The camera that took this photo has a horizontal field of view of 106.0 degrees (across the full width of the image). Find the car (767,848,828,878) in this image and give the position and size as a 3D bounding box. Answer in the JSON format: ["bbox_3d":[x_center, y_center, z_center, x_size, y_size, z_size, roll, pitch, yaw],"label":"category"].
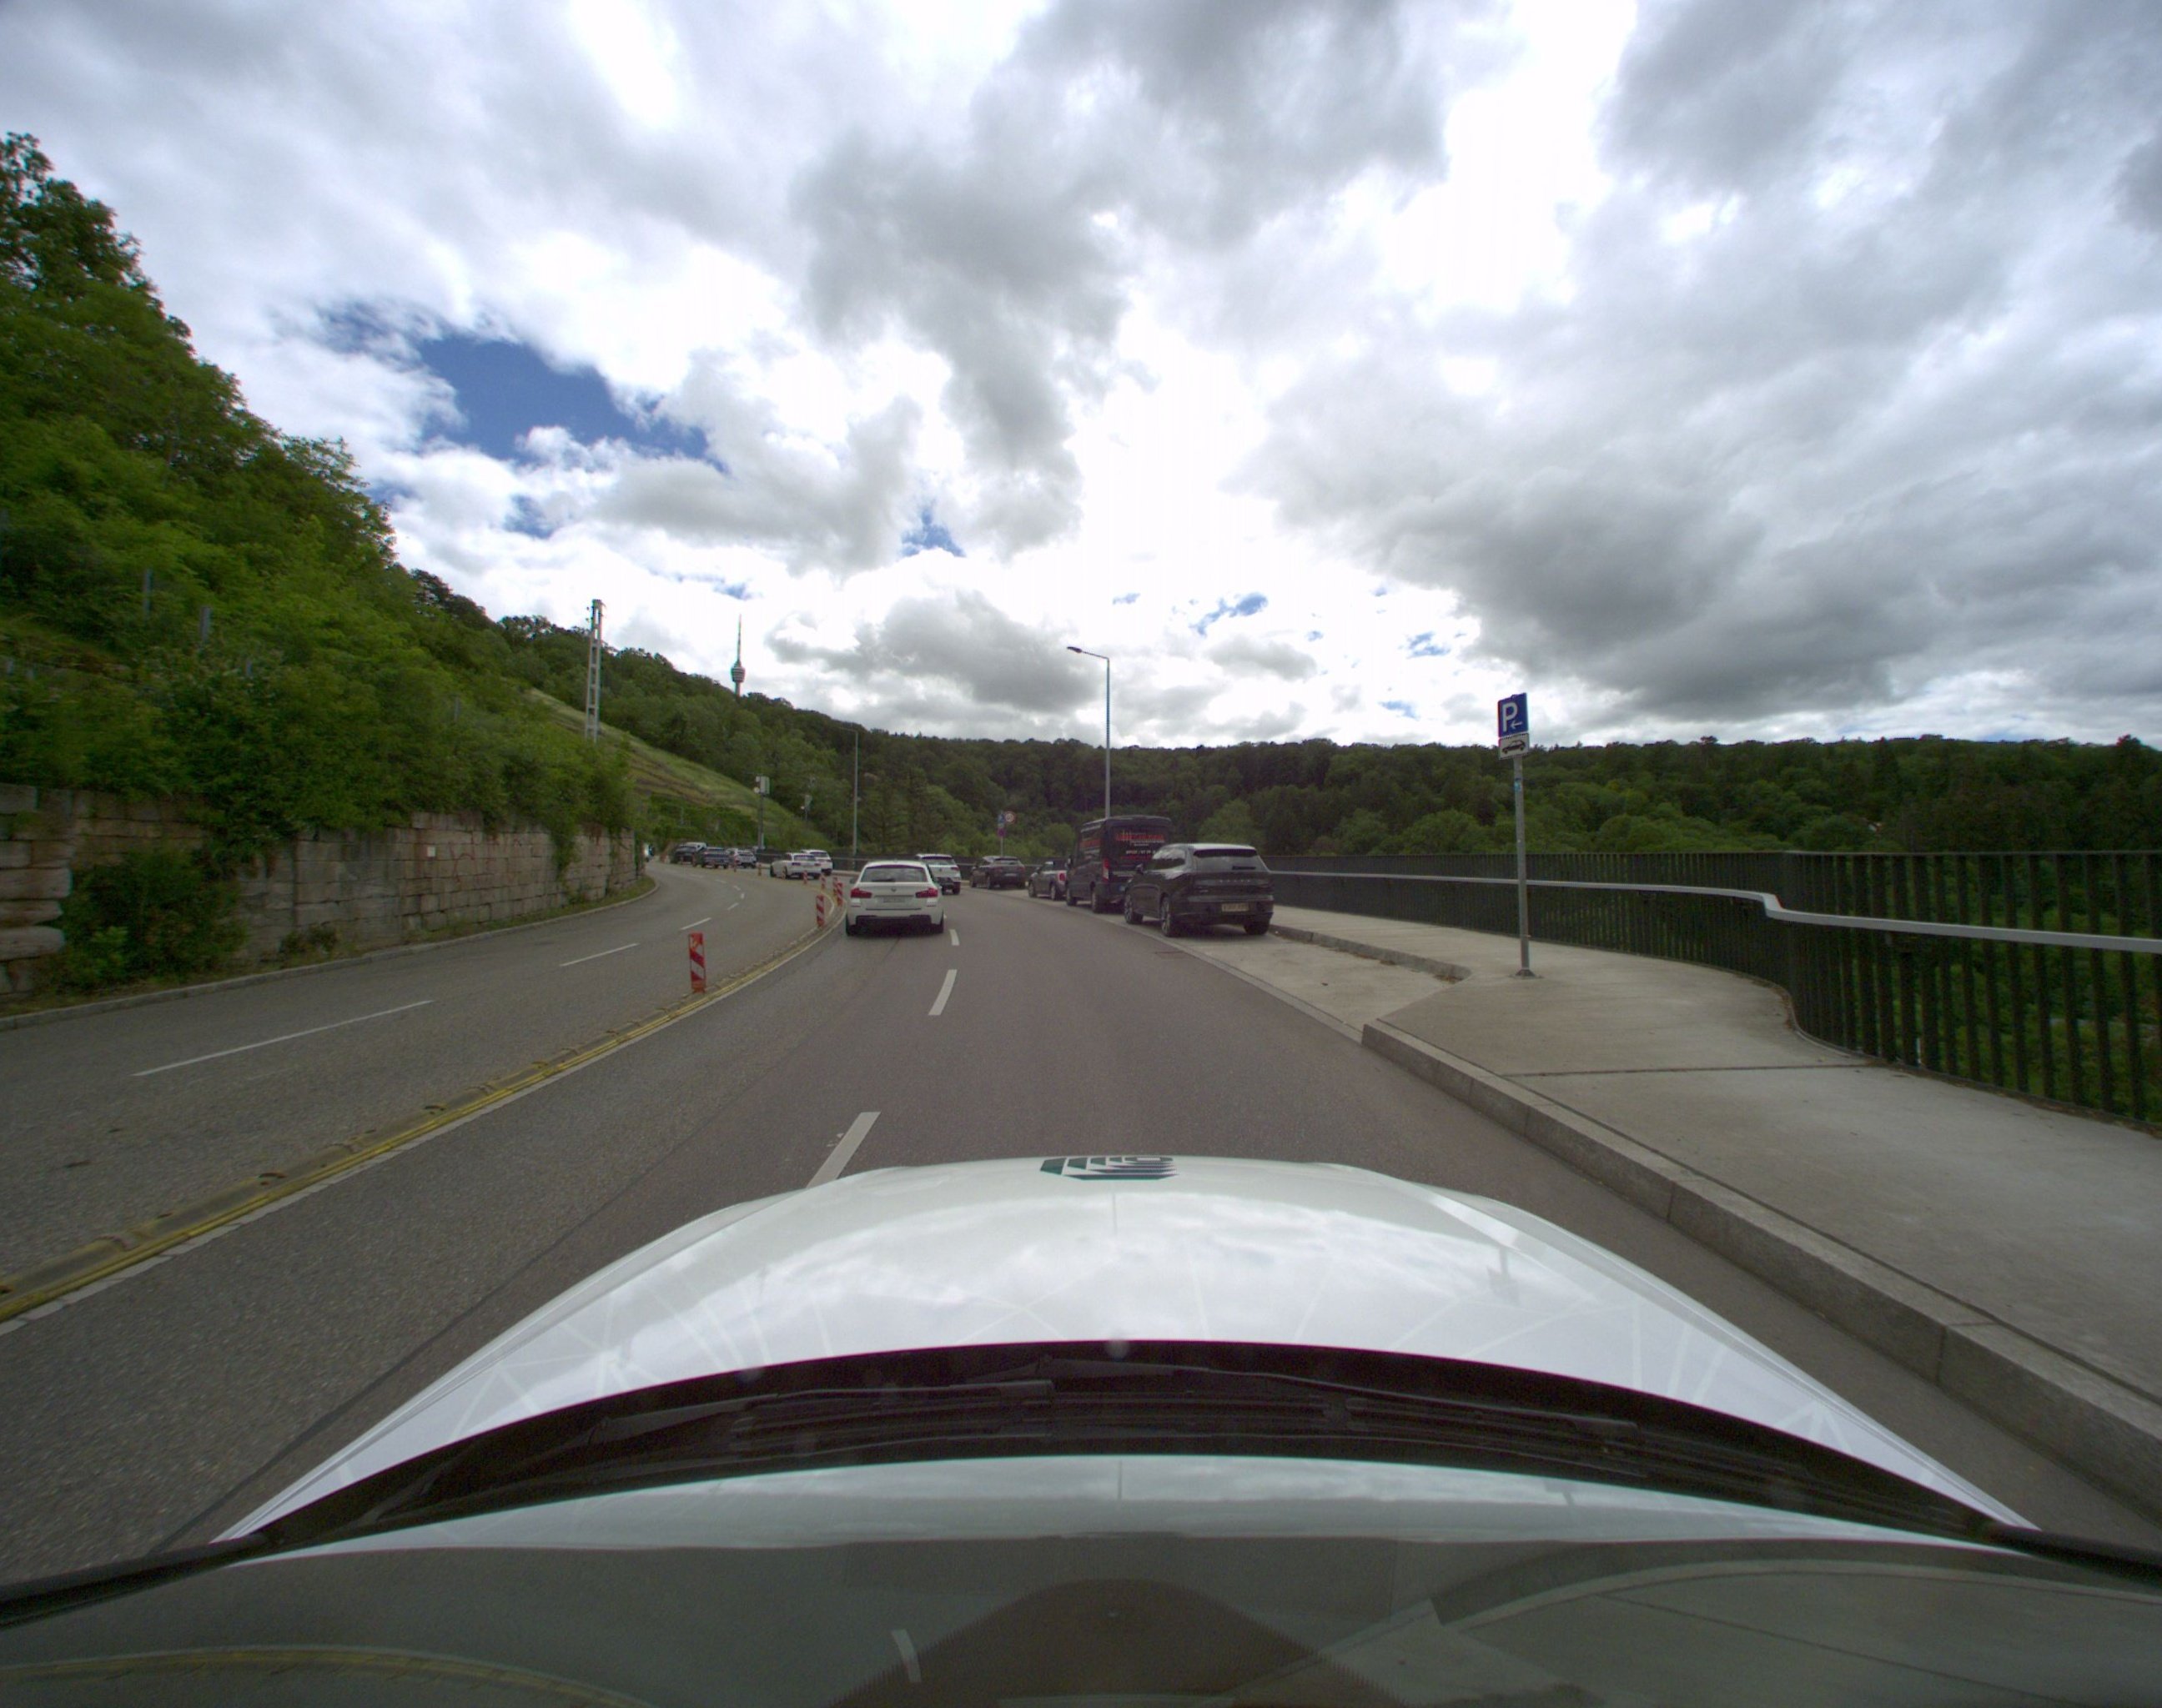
[{"bbox_3d":[-16.103,0.547,46.060,2.009,1.503,4.616,-2,-1,-36],"label":"car"}]

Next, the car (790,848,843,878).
[{"bbox_3d":[-17.121,0.596,52.607,2.009,1.718,4.067,-2,-1,-36],"label":"car"}]

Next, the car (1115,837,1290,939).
[{"bbox_3d":[2.246,0.630,16.712,1.994,1.718,5.030,-1,-1,-11],"label":"car"}]

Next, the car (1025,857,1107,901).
[{"bbox_3d":[-0.611,0.830,28.818,1.720,1.431,3.823,0,0,-21],"label":"car"}]

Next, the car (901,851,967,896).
[{"bbox_3d":[-5.930,0.787,32.444,1.835,1.606,3.971,-2,-1,-21],"label":"car"}]

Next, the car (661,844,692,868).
[{"bbox_3d":[-34.452,0.202,69.364,1.882,1.762,3.958,2,-4,-33],"label":"car"}]

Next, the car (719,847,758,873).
[{"bbox_3d":[-27.352,0.478,64.963,2.009,2.014,3.956,0,-1,-36],"label":"car"}]

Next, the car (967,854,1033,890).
[{"bbox_3d":[-3.822,0.811,37.662,1.883,1.543,4.058,1,-1,-23],"label":"car"}]

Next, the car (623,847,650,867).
[{"bbox_3d":[-38.595,0.266,70.616,1.713,1.548,3.959,0,2,-33],"label":"car"}]

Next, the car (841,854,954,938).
[{"bbox_3d":[-3.724,0.769,17.248,1.826,1.459,4.476,0,1,-6],"label":"car"}]

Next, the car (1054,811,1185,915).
[{"bbox_3d":[0.900,0.214,23.390,2.169,2.521,5.744,-2,0,-14],"label":"car"}]

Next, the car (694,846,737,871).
[{"bbox_3d":[-26.764,0.341,59.569,2.009,1.648,3.955,-2,-1,-37],"label":"car"}]
